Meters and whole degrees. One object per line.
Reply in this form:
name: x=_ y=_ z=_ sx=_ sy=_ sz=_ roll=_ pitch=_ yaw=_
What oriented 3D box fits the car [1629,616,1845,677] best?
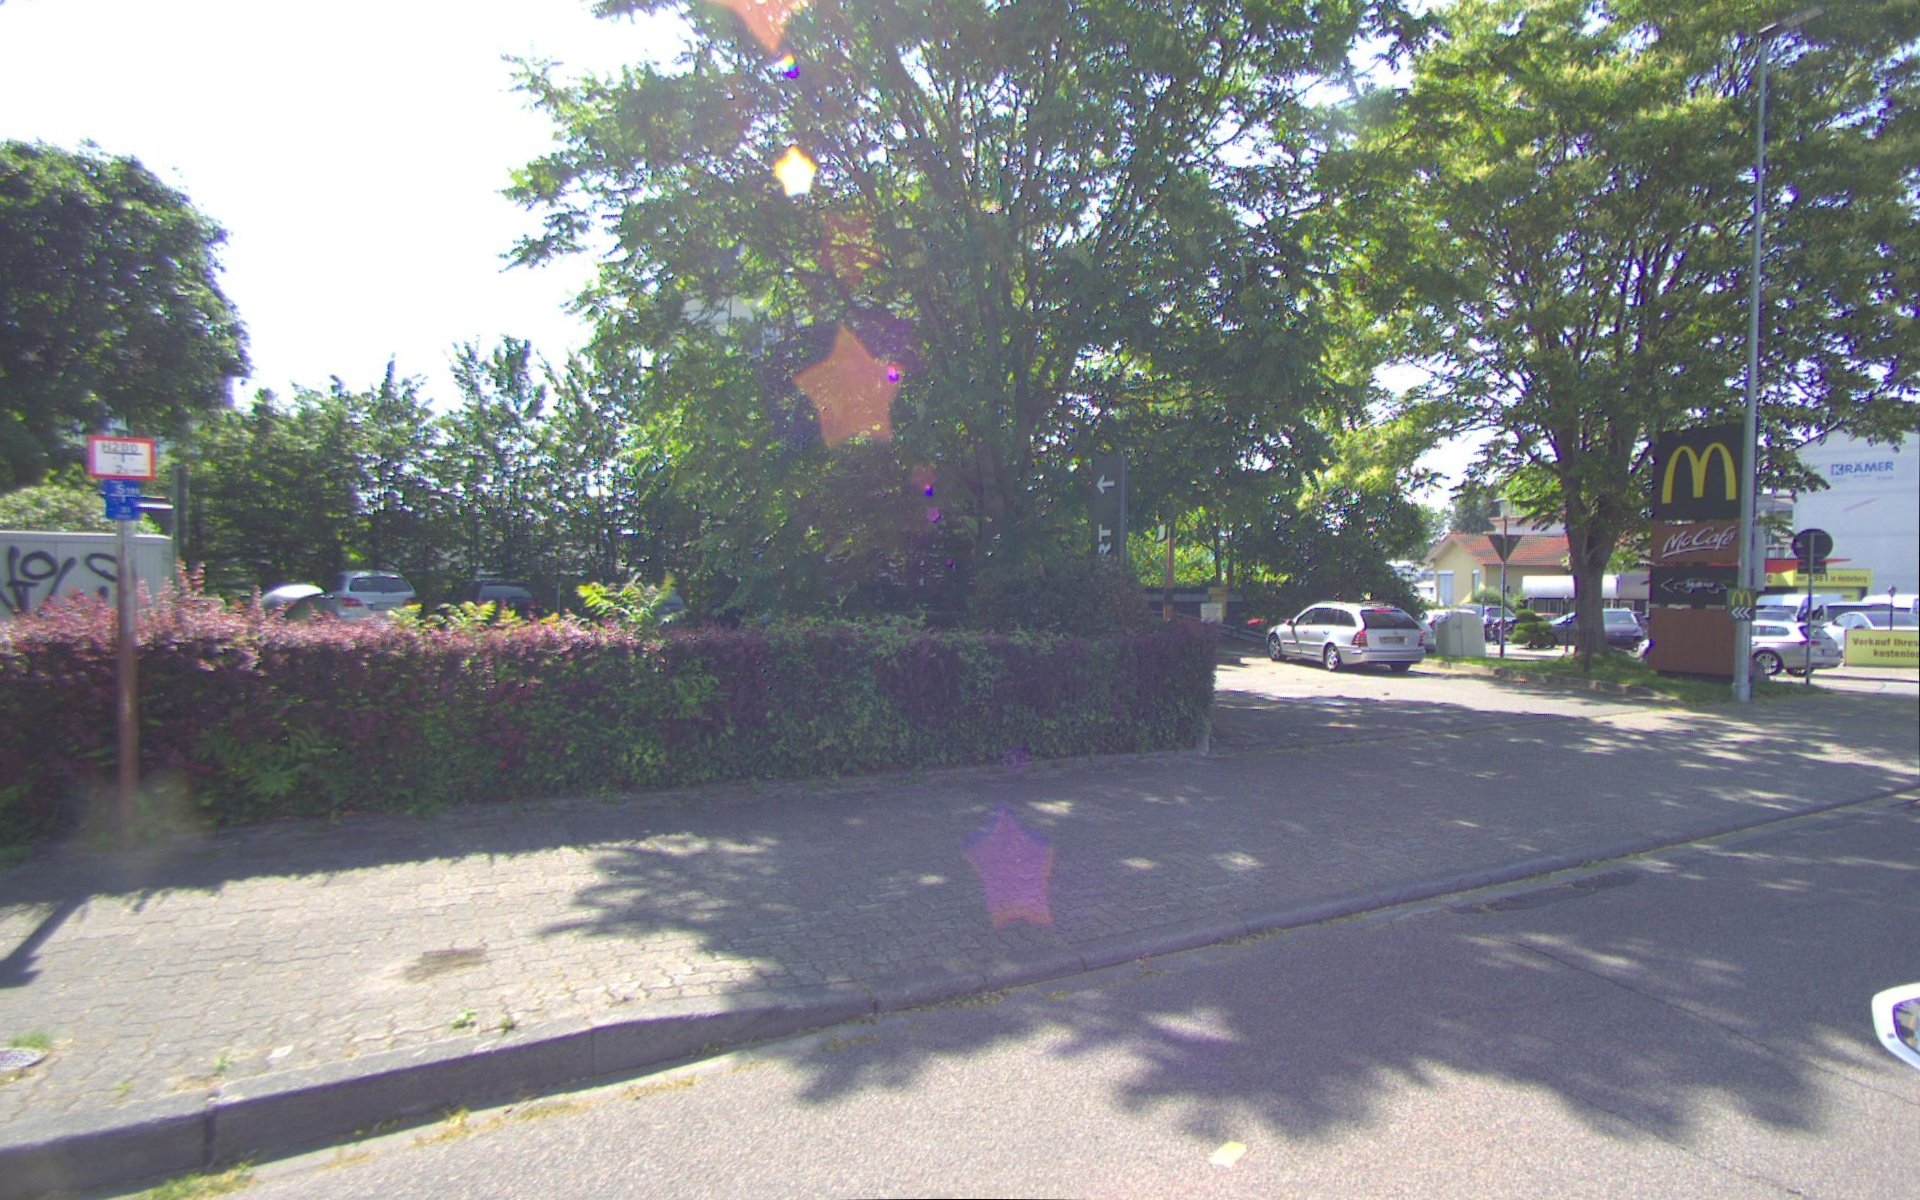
car: x=21.751 y=1.241 z=28.349 sx=1.661 sy=1.513 sz=4.574 roll=1 pitch=0 yaw=-27

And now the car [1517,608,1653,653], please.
car: x=27.981 y=1.334 z=45.152 sx=4.794 sy=1.867 sz=2.164 roll=0 pitch=0 yaw=16

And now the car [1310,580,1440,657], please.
car: x=11.607 y=0.584 z=28.446 sx=1.855 sy=1.945 sz=4.527 roll=-2 pitch=-3 yaw=2

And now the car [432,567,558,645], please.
car: x=-11.651 y=0.103 z=25.042 sx=1.788 sy=1.755 sz=3.974 roll=1 pitch=2 yaw=-41

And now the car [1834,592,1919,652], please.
car: x=42.598 y=1.029 z=46.265 sx=5.664 sy=2.463 sz=2.230 roll=2 pitch=3 yaw=-36

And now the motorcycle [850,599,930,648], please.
motorcycle: x=-1.819 y=0.594 z=25.982 sx=2.146 sy=1.147 sz=0.568 roll=2 pitch=2 yaw=33

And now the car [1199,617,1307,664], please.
car: x=10.552 y=1.442 z=36.318 sx=3.341 sy=1.485 sz=1.693 roll=-2 pitch=0 yaw=-4

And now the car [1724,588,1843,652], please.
car: x=38.025 y=0.963 z=46.344 sx=6.080 sy=2.794 sz=2.266 roll=2 pitch=-1 yaw=-30

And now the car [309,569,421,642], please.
car: x=-14.779 y=0.088 z=24.859 sx=1.631 sy=1.609 sz=3.800 roll=0 pitch=2 yaw=-43

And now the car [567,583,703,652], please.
car: x=-7.830 y=0.367 z=23.987 sx=1.615 sy=1.414 sz=4.021 roll=1 pitch=2 yaw=-41

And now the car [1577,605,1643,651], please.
car: x=25.339 y=1.078 z=39.263 sx=1.777 sy=1.678 sz=4.309 roll=-1 pitch=-1 yaw=28

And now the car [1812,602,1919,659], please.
car: x=30.435 y=1.072 z=33.123 sx=1.942 sy=1.729 sz=4.666 roll=-1 pitch=-3 yaw=19

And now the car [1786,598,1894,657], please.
car: x=37.416 y=1.184 z=42.699 sx=4.772 sy=2.381 sz=2.233 roll=2 pitch=-1 yaw=-33

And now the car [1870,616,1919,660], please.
car: x=34.491 y=1.328 z=36.056 sx=1.809 sy=1.492 sz=3.993 roll=-2 pitch=-2 yaw=30

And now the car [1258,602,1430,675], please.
car: x=8.255 y=0.762 z=22.066 sx=1.682 sy=1.422 sz=4.381 roll=0 pitch=0 yaw=-7

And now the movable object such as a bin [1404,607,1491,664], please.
movable object such as a bin: x=14.003 y=1.006 z=28.907 sx=1.429 sy=1.546 sz=1.772 roll=-2 pitch=-1 yaw=-11

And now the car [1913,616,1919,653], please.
car: x=39.070 y=1.362 z=39.179 sx=1.809 sy=1.492 sz=3.992 roll=-2 pitch=-2 yaw=30

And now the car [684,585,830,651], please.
car: x=-5.105 y=0.390 z=24.892 sx=1.756 sy=1.406 sz=4.045 roll=1 pitch=2 yaw=-41

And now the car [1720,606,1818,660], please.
car: x=27.654 y=1.137 z=34.486 sx=2.013 sy=1.729 sz=4.307 roll=0 pitch=-2 yaw=31
